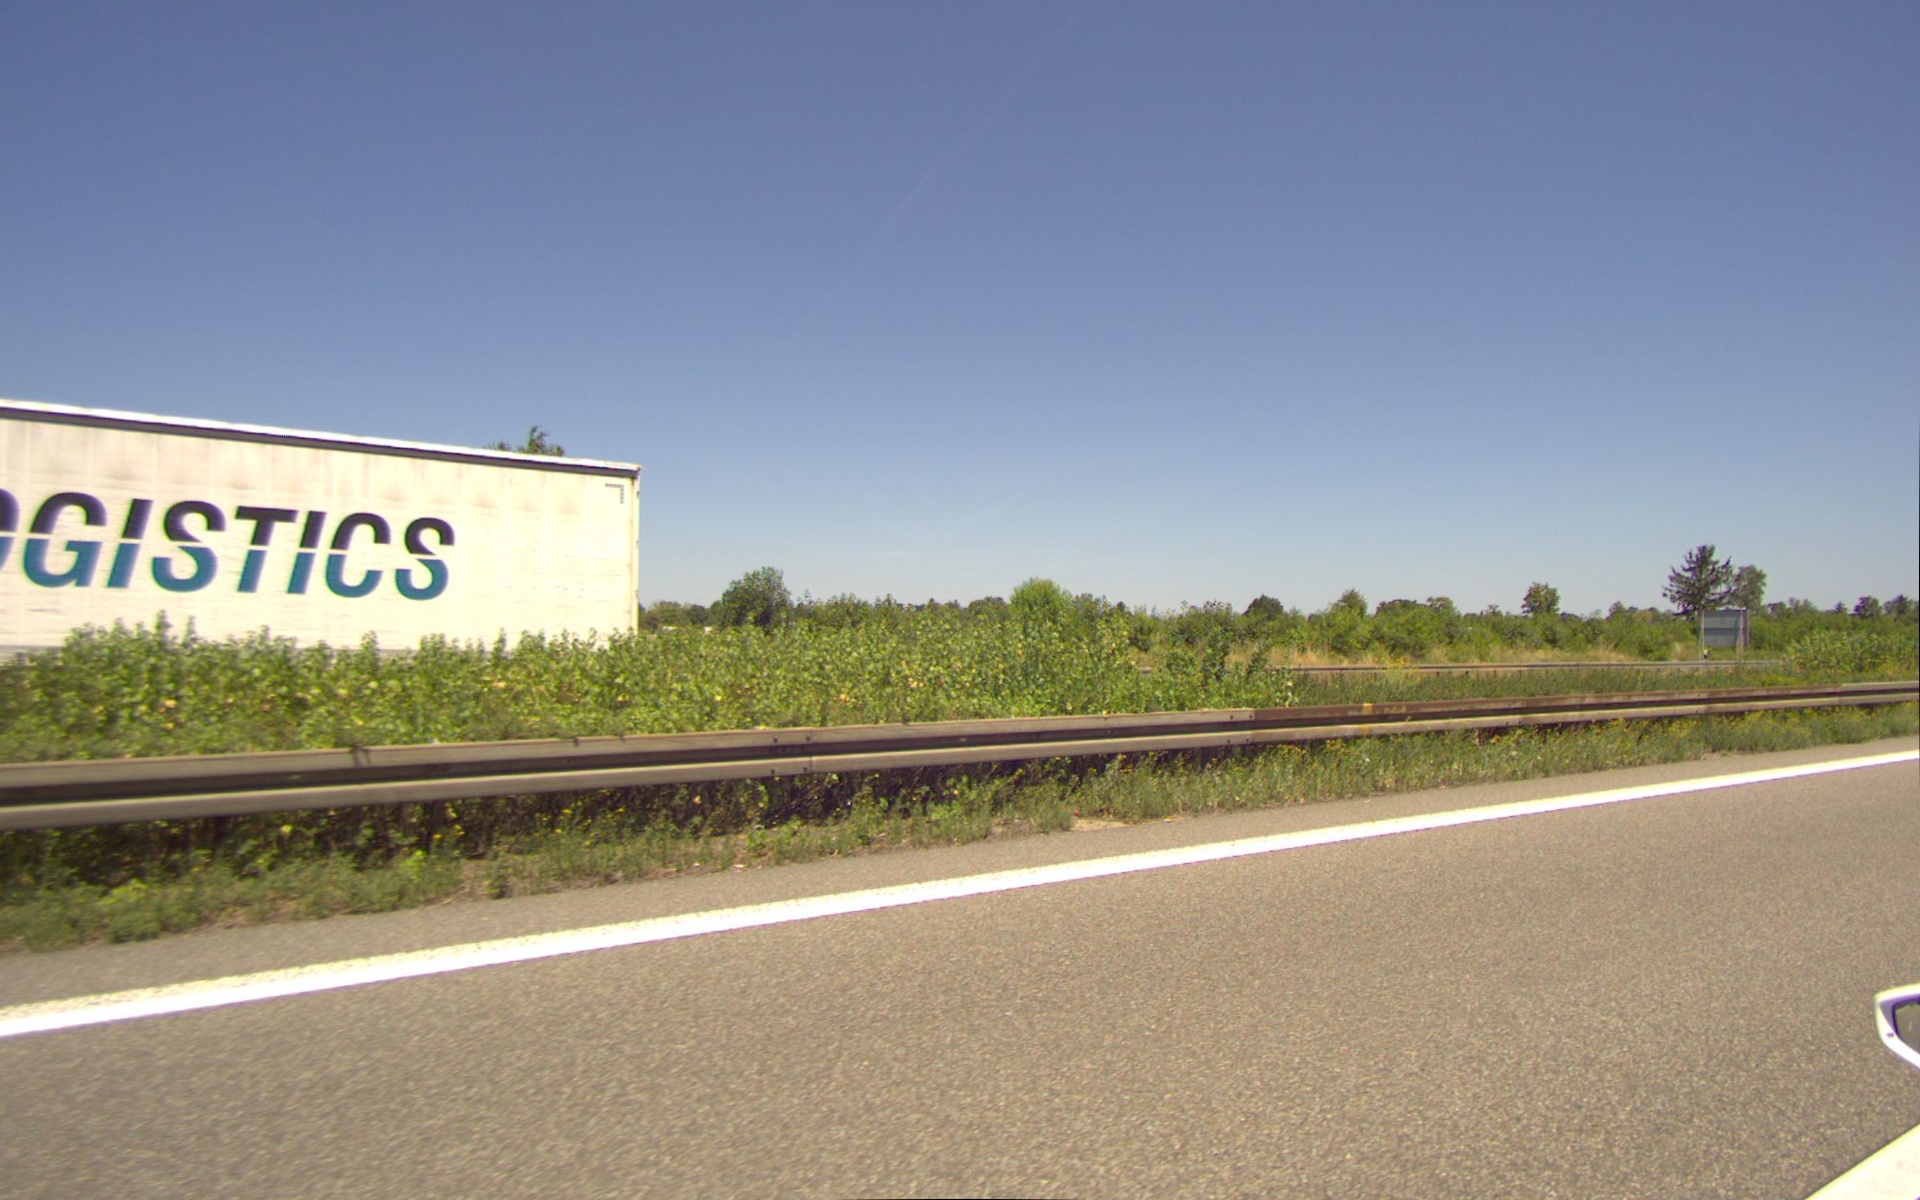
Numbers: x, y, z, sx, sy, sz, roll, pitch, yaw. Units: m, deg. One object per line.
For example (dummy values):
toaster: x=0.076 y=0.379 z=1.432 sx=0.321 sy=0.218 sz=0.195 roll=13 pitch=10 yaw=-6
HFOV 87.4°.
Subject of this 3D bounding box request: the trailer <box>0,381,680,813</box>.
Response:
trailer: x=-10.625 y=-0.033 z=12.038 sx=13.703 sy=4.586 sz=2.808 roll=2 pitch=0 yaw=-30
